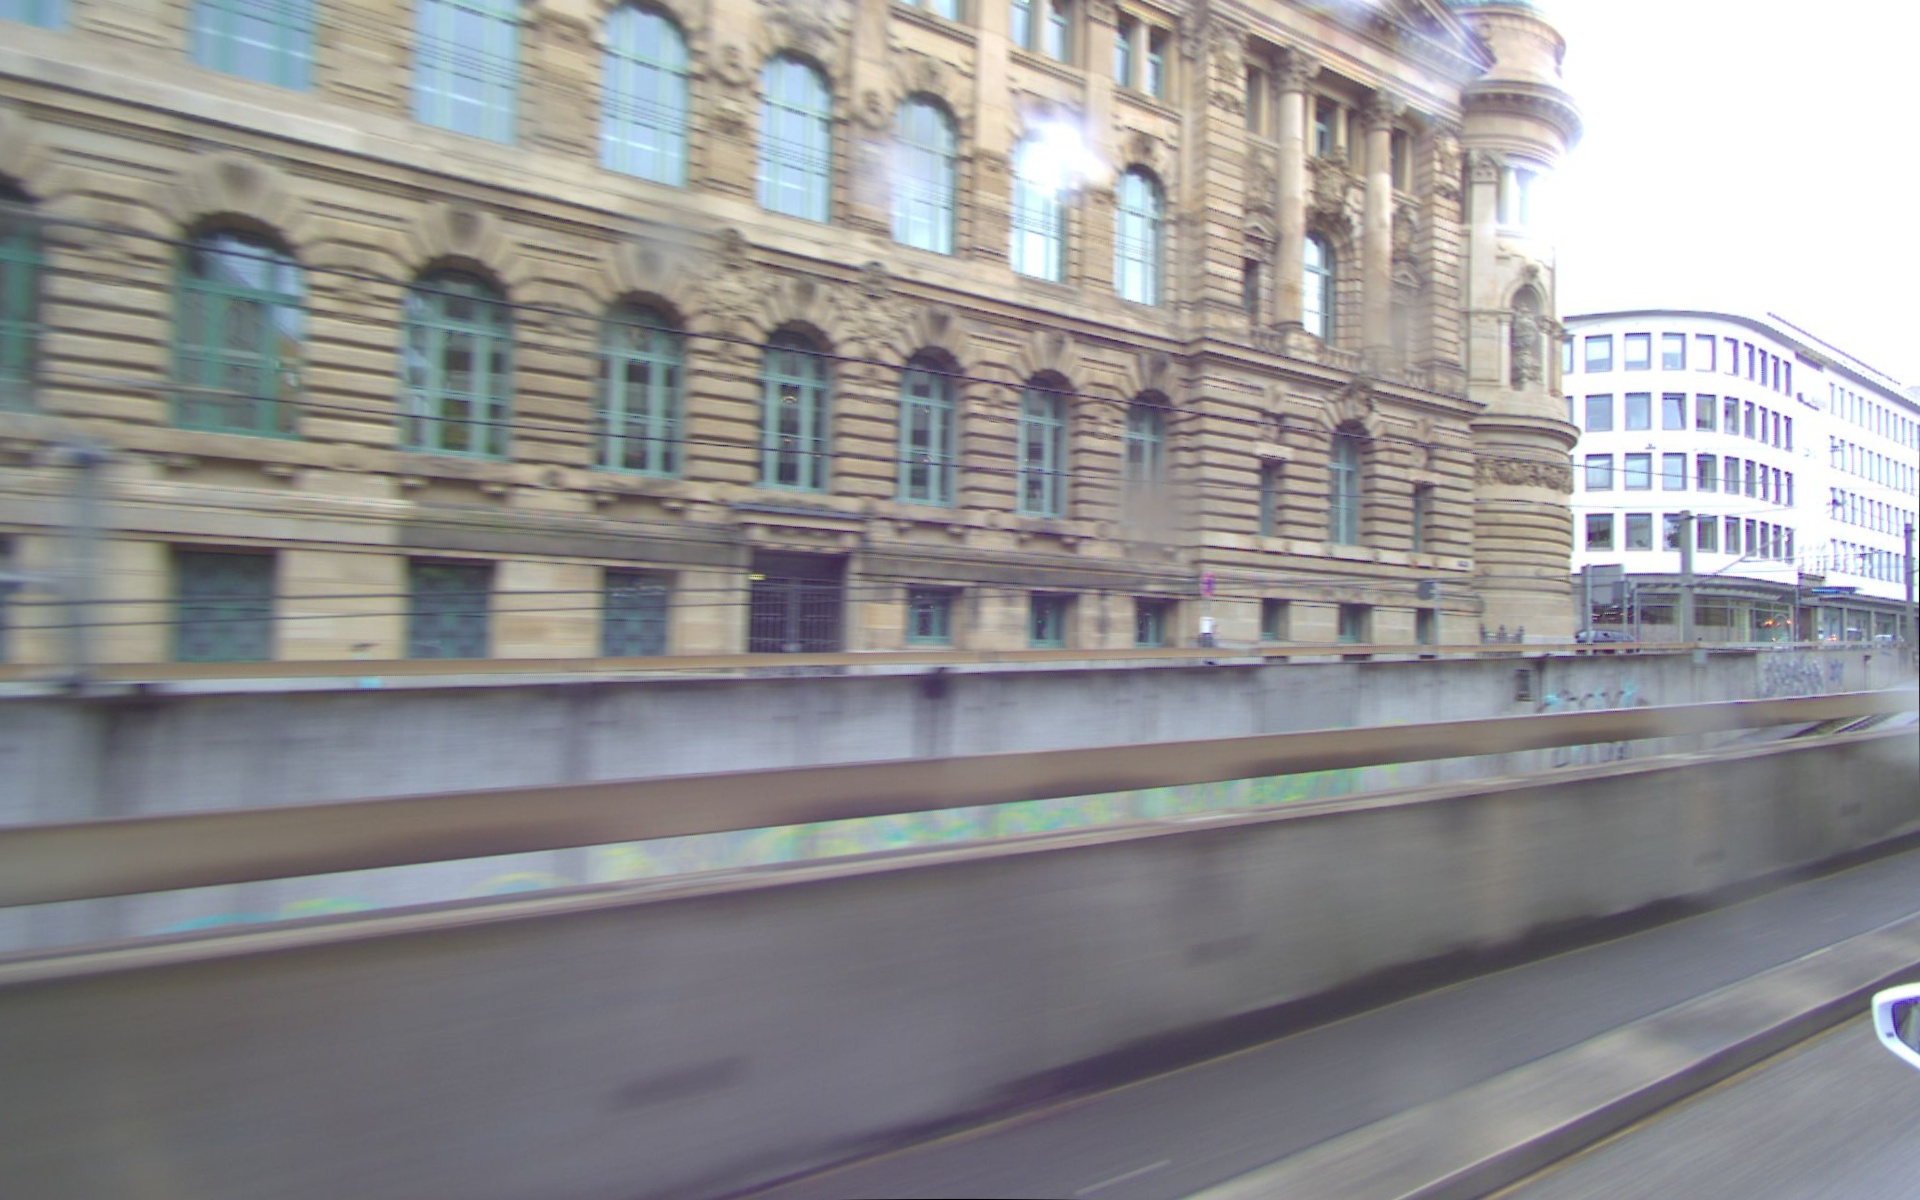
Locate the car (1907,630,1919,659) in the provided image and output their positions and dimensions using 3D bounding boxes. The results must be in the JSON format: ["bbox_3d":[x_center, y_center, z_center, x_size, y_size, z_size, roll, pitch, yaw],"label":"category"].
[{"bbox_3d":[64.945,2.969,66.825,4.879,1.908,1.980,2,-1,-36],"label":"car"}]

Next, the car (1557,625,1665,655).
[{"bbox_3d":[35.875,2.248,55.452,4.686,1.541,1.676,-2,-4,20],"label":"car"}]
